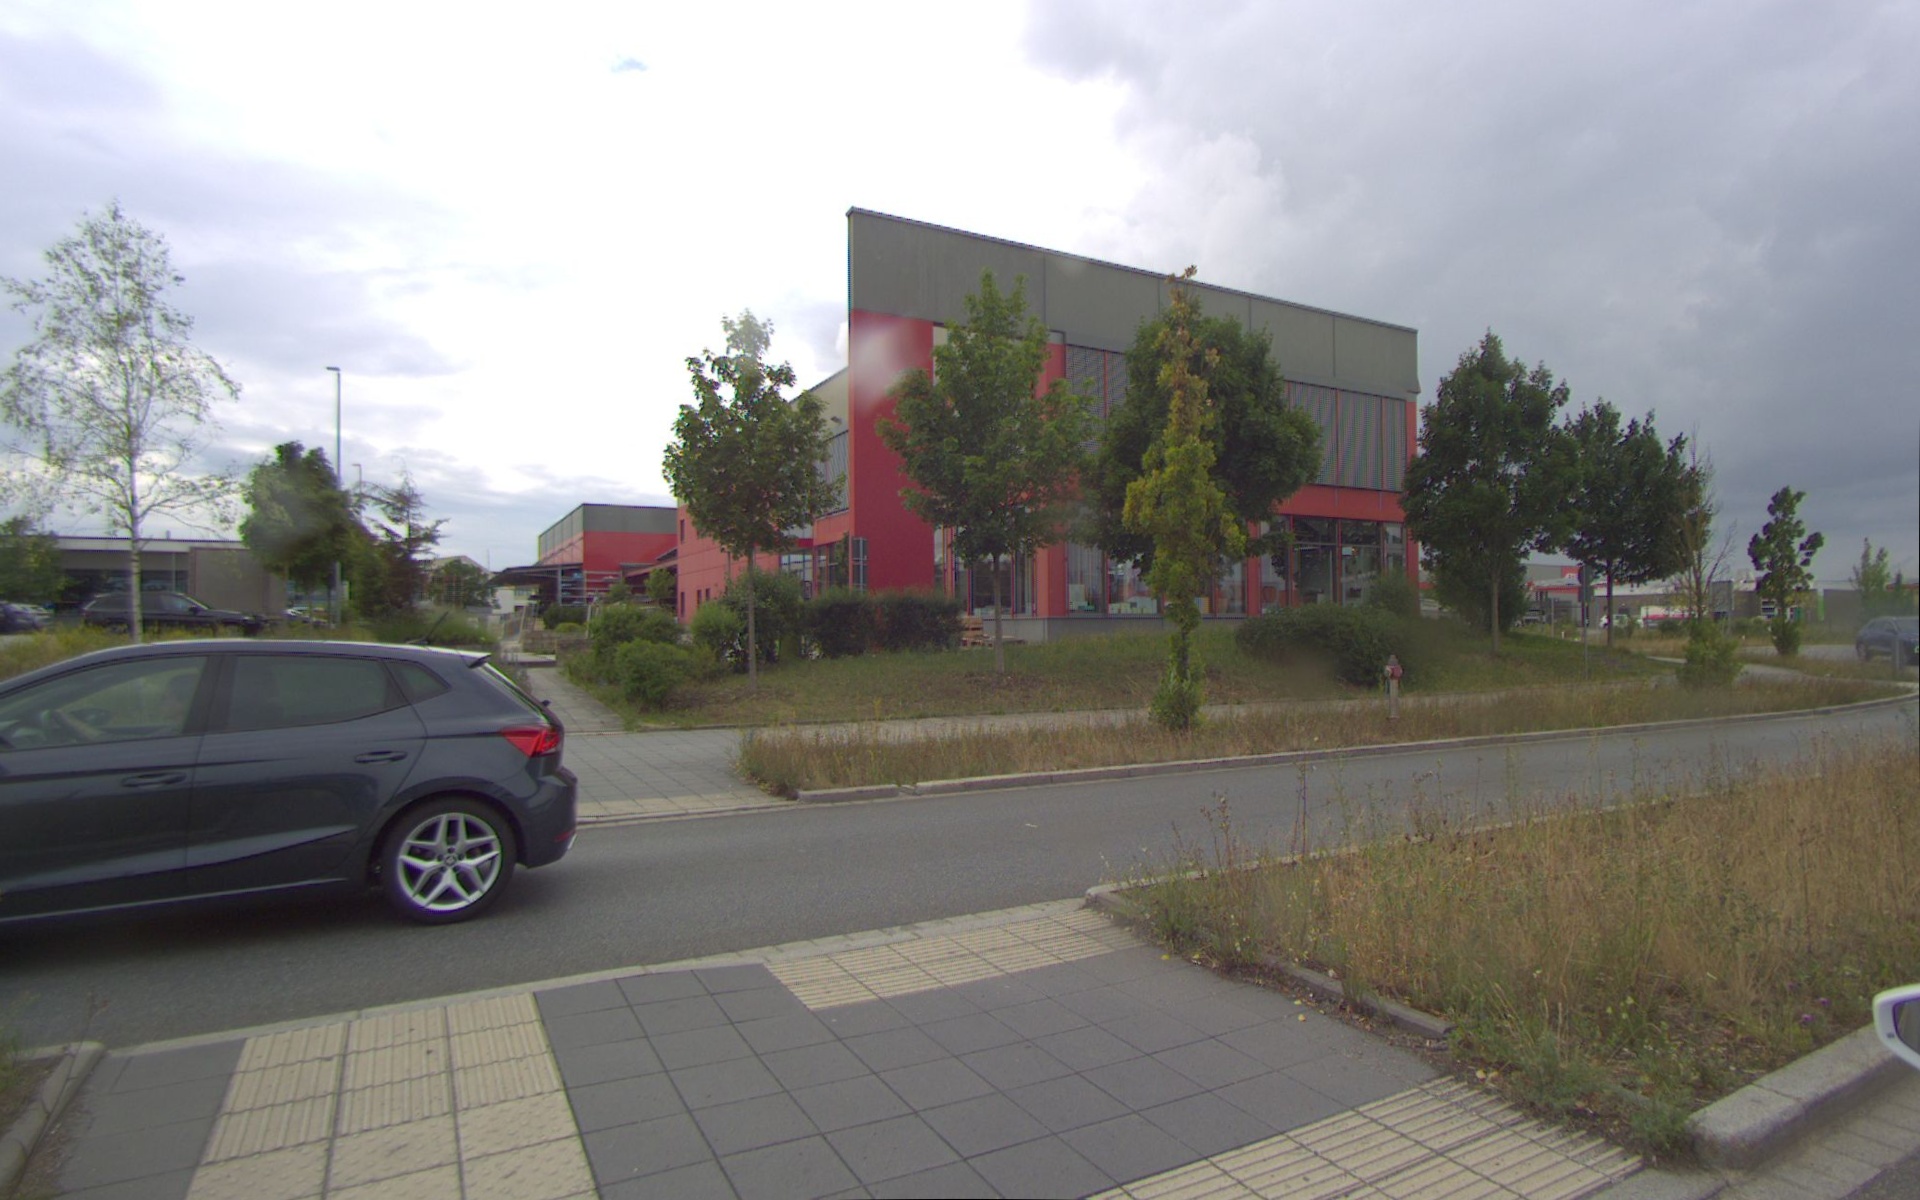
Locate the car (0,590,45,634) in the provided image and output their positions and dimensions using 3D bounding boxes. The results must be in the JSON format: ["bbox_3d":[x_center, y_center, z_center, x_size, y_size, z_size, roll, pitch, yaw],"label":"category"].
[{"bbox_3d":[-45.783,0.580,46.928,3.933,2.040,1.994,1,-1,-15],"label":"car"}]

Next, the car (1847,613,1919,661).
[{"bbox_3d":[32.543,1.294,34.297,1.810,1.548,4.230,-1,-3,18],"label":"car"}]

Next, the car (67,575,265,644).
[{"bbox_3d":[-24.865,0.342,31.707,4.583,2.060,1.985,1,-2,-30],"label":"car"}]

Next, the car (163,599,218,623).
[{"bbox_3d":[-53.427,0.802,69.839,1.971,1.628,3.980,1,-1,-21],"label":"car"}]

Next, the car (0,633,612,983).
[{"bbox_3d":[-4.012,0.908,5.142,3.953,1.425,1.833,1,-3,-31],"label":"car"}]

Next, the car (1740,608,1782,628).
[{"bbox_3d":[78.701,1.767,98.672,3.952,1.884,1.984,1,-1,-30],"label":"car"}]

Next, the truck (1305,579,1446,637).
[{"bbox_3d":[30.238,0.659,73.512,3.115,3.958,9.236,1,-2,-37],"label":"truck"}]
